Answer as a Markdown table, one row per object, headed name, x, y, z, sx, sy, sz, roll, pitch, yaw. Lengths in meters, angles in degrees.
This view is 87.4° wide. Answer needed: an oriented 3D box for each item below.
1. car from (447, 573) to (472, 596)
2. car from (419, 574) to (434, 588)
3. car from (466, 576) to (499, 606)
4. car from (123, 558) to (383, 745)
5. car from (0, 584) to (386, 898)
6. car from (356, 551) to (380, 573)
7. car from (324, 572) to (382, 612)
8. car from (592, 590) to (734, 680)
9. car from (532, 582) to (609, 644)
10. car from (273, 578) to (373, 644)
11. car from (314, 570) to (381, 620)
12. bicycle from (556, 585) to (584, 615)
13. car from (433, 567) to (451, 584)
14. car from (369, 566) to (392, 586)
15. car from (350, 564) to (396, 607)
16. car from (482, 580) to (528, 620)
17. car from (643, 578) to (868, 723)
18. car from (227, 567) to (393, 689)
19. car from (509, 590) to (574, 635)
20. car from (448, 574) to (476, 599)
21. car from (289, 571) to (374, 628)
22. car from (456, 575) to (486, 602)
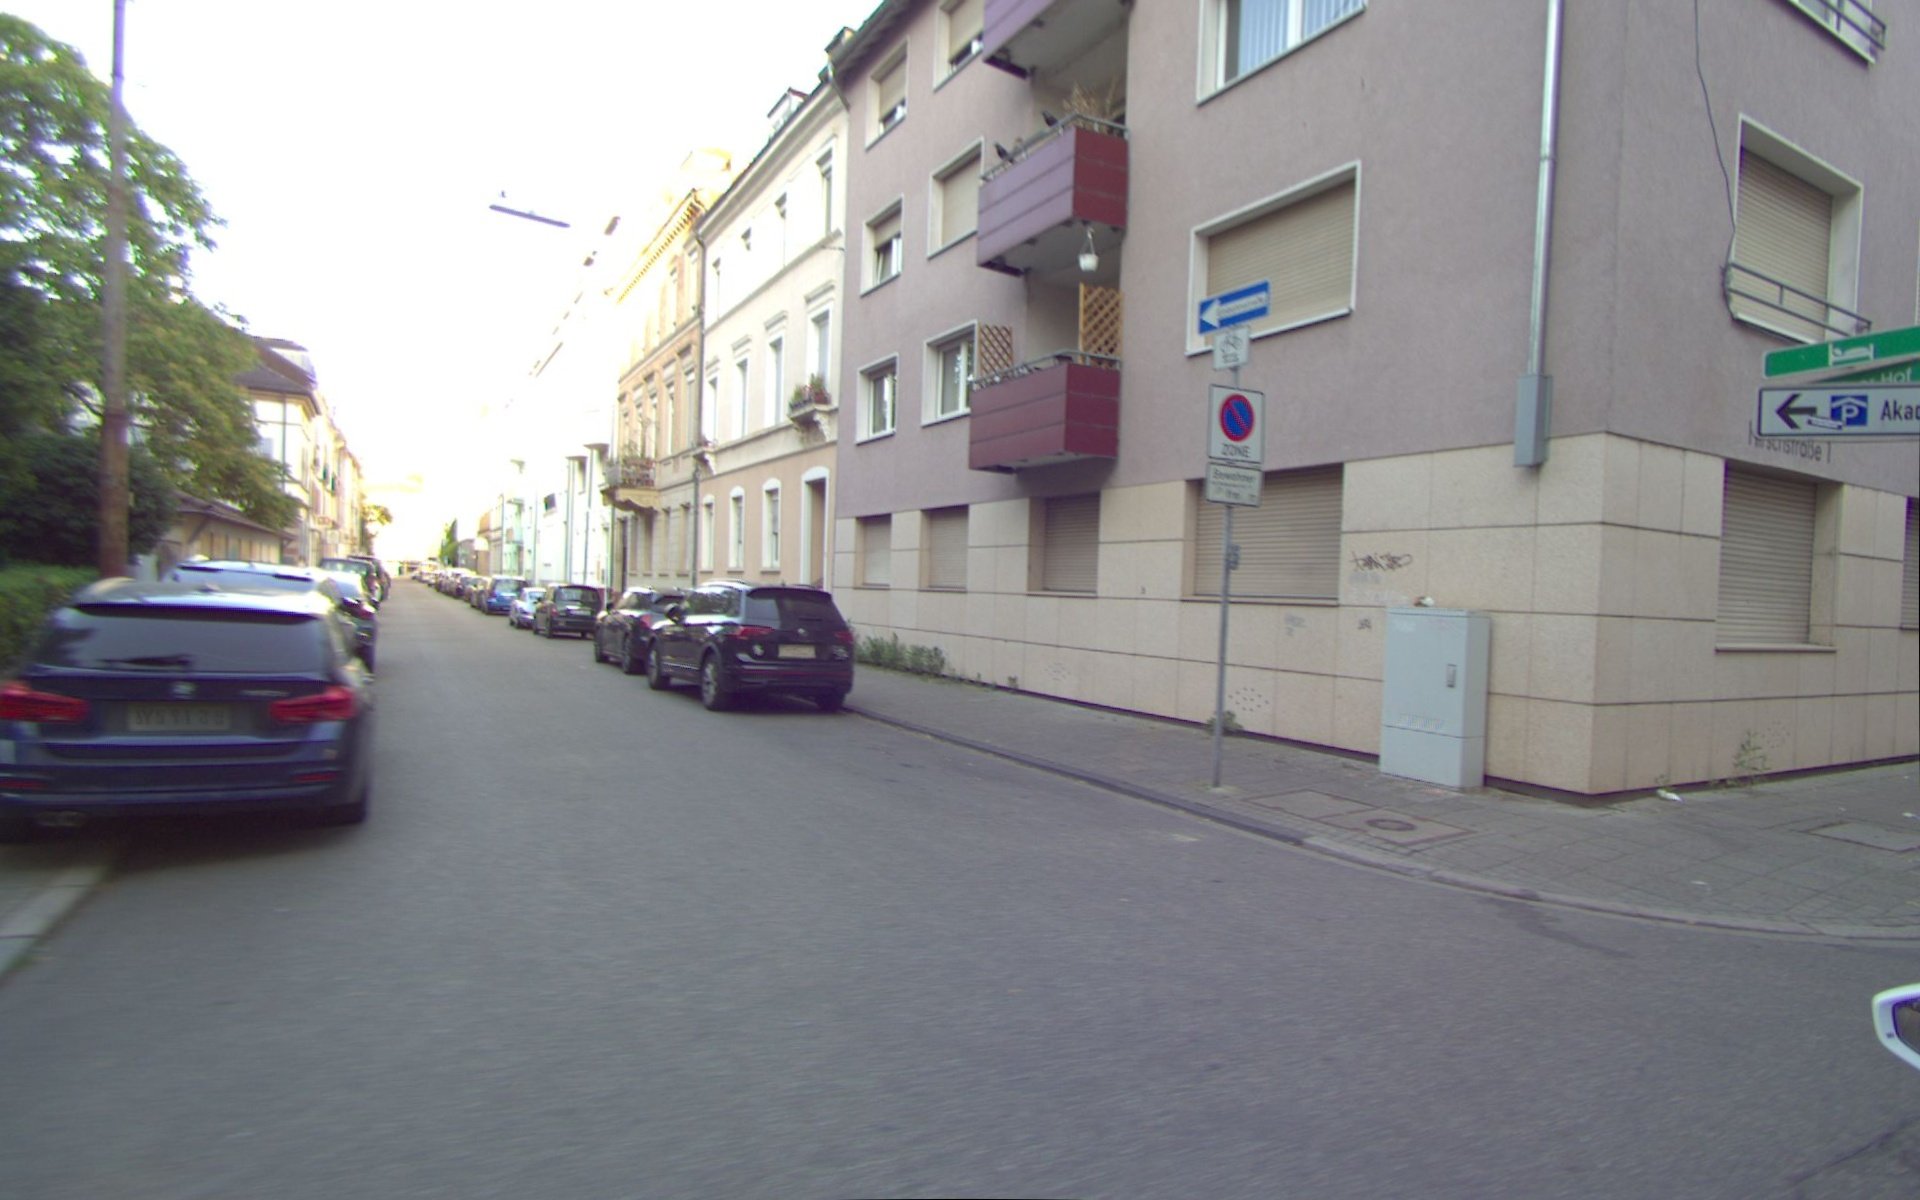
| name | x | y | z | sx | sy | sz | roll | pitch | yaw |
| --- | --- | --- | --- | --- | --- | --- | --- | --- | --- |
| car | -34.730 | -1.058 | 69.700 | 1.480 | 1.529 | 3.160 | 1 | 0 | -28 |
| car | -64.608 | -2.297 | 121.660 | 1.480 | 1.529 | 3.160 | 1 | 0 | -28 |
| car | -25.366 | -0.492 | 53.317 | 1.480 | 1.529 | 3.160 | 1 | 0 | -28 |
| car | -7.623 | 0.440 | 11.264 | 1.805 | 1.662 | 4.352 | 1 | 0 | -28 |
| car | -5.005 | 0.669 | 6.970 | 1.667 | 1.477 | 4.322 | 2 | 0 | -31 |
| car | -57.110 | -3.659 | 96.876 | 1.823 | 1.986 | 3.872 | 2 | 0 | -29 |
| car | -24.869 | -0.327 | 41.256 | 1.823 | 1.504 | 3.872 | 2 | 0 | -29 |
| car | -5.564 | 0.589 | 18.516 | 1.740 | 1.467 | 3.816 | 2 | 0 | -28 |
| car | -10.804 | 0.320 | 27.762 | 1.596 | 1.609 | 3.160 | 1 | 0 | -28 |
| car | -15.807 | 0.239 | 25.105 | 1.823 | 1.504 | 3.872 | 2 | 0 | -29 |
| car | -21.890 | -0.190 | 36.034 | 1.823 | 1.630 | 3.872 | 2 | 0 | -29 |
| bicycle | -18.023 | -0.008 | 46.390 | 0.785 | 1.278 | 2.931 | 0 | 2 | -29 |
| car | -48.184 | -2.248 | 93.388 | 1.480 | 1.529 | 3.160 | 1 | 0 | -28 |
| car | -47.026 | -1.907 | 81.533 | 1.480 | 1.529 | 3.160 | 1 | 0 | -28 |
| car | -29.332 | -0.722 | 50.306 | 1.823 | 1.986 | 3.872 | 2 | 0 | -29 |
| car | -18.404 | -0.025 | 40.546 | 1.480 | 1.540 | 3.160 | 1 | 0 | -28 |
| car | -2.923 | 0.627 | 13.739 | 1.776 | 1.677 | 3.813 | 4 | -2 | -31 |
| car | -10.198 | 0.364 | 16.054 | 1.805 | 1.662 | 4.352 | 1 | 0 | -28 |
| car | -13.281 | 0.373 | 31.787 | 1.596 | 1.315 | 3.160 | 1 | 0 | -28 |
| car | -31.704 | -0.859 | 63.917 | 1.480 | 1.529 | 3.160 | 1 | 0 | -28 |
| car | -18.151 | -0.029 | 29.156 | 1.823 | 1.504 | 3.872 | 2 | 0 | -29 |
| car | -28.761 | -0.680 | 59.069 | 1.480 | 1.529 | 3.160 | 1 | 0 | -28 |
